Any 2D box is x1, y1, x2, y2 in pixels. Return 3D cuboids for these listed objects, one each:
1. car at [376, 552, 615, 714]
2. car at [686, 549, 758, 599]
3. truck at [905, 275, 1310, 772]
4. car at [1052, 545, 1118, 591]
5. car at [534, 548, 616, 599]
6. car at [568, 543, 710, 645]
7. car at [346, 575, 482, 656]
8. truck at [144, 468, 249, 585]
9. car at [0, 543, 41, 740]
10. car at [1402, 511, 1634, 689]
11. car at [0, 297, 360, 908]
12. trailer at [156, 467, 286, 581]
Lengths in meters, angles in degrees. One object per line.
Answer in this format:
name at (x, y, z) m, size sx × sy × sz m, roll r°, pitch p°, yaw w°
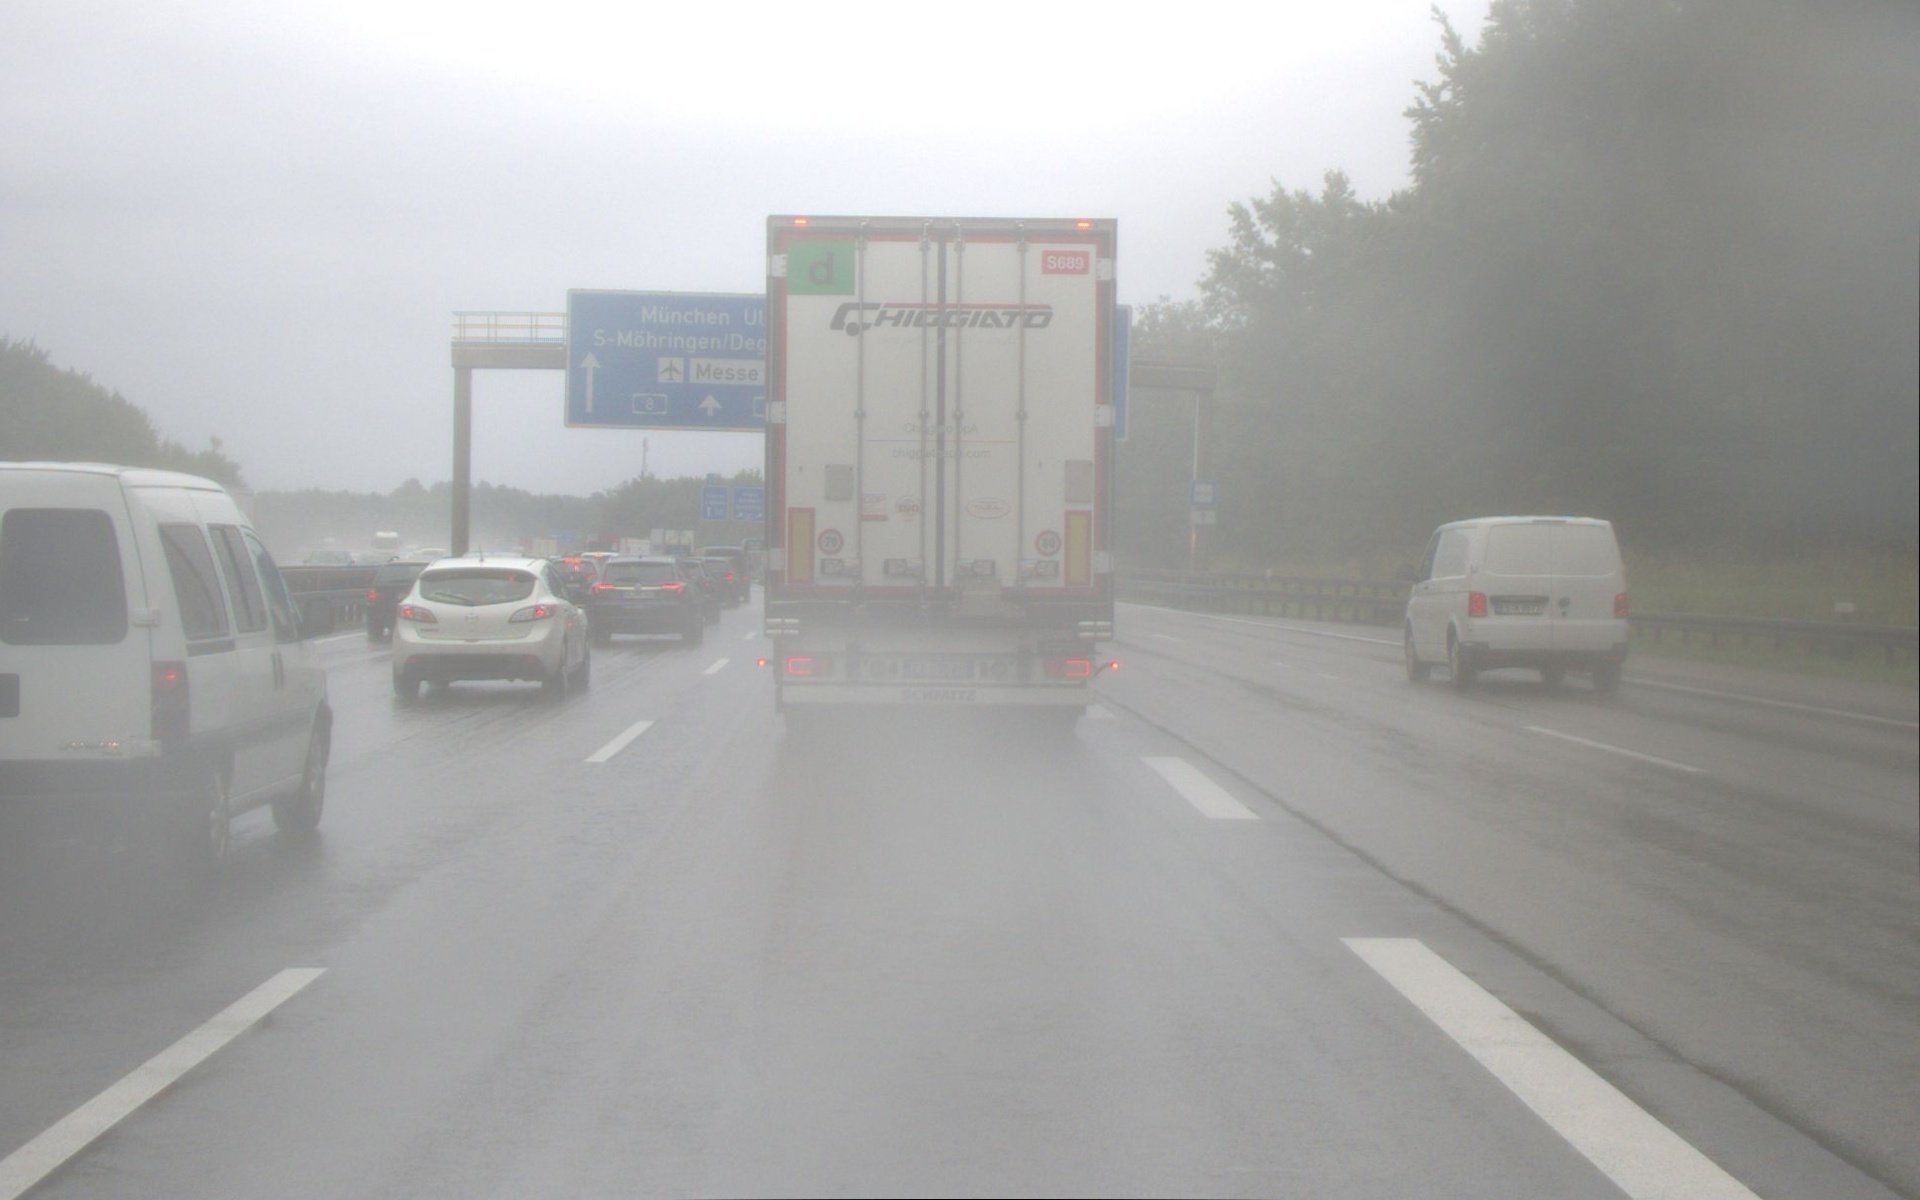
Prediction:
car at (-4.908, 0.303, 36.806) m, size 1.846 × 1.586 × 4.072 m, roll 1°, pitch 1°, yaw 2°
car at (-6.776, -0.755, 98.170) m, size 1.845 × 1.326 × 4.467 m, roll 1°, pitch 1°, yaw -1°
truck at (1.188, -0.615, 30.442) m, size 2.872 × 3.550 × 11.302 m, roll 1°, pitch 1°, yaw 1°
car at (3.934, -1.028, 108.691) m, size 1.790 × 1.402 × 4.228 m, roll 1°, pitch 1°, yaw -2°
car at (-10.696, -0.757, 95.732) m, size 1.845 × 1.326 × 4.467 m, roll 1°, pitch 1°, yaw -1°
car at (-5.305, -0.129, 57.262) m, size 1.845 × 1.586 × 4.466 m, roll 1°, pitch 1°, yaw 1°
car at (-9.851, 0.247, 62.308) m, size 1.845 × 1.326 × 4.467 m, roll 1°, pitch 1°, yaw -1°
truck at (-27.201, -2.608, 122.759) m, size 2.540 × 4.011 × 6.325 m, roll 1°, pitch 1°, yaw -2°
car at (-8.714, 0.358, 26.948) m, size 1.845 × 1.586 × 4.467 m, roll 1°, pitch 1°, yaw 0°
car at (6.389, -0.052, 39.895) m, size 1.990 × 1.914 × 4.767 m, roll 1°, pitch 1°, yaw 1°
car at (-4.390, -0.051, 16.966) m, size 2.212 × 2.564 × 5.016 m, roll 1°, pitch 1°, yaw -3°
trailer at (-27.557, -2.797, 128.752) m, size 2.540 × 4.011 × 13.853 m, roll 1°, pitch 1°, yaw -3°
